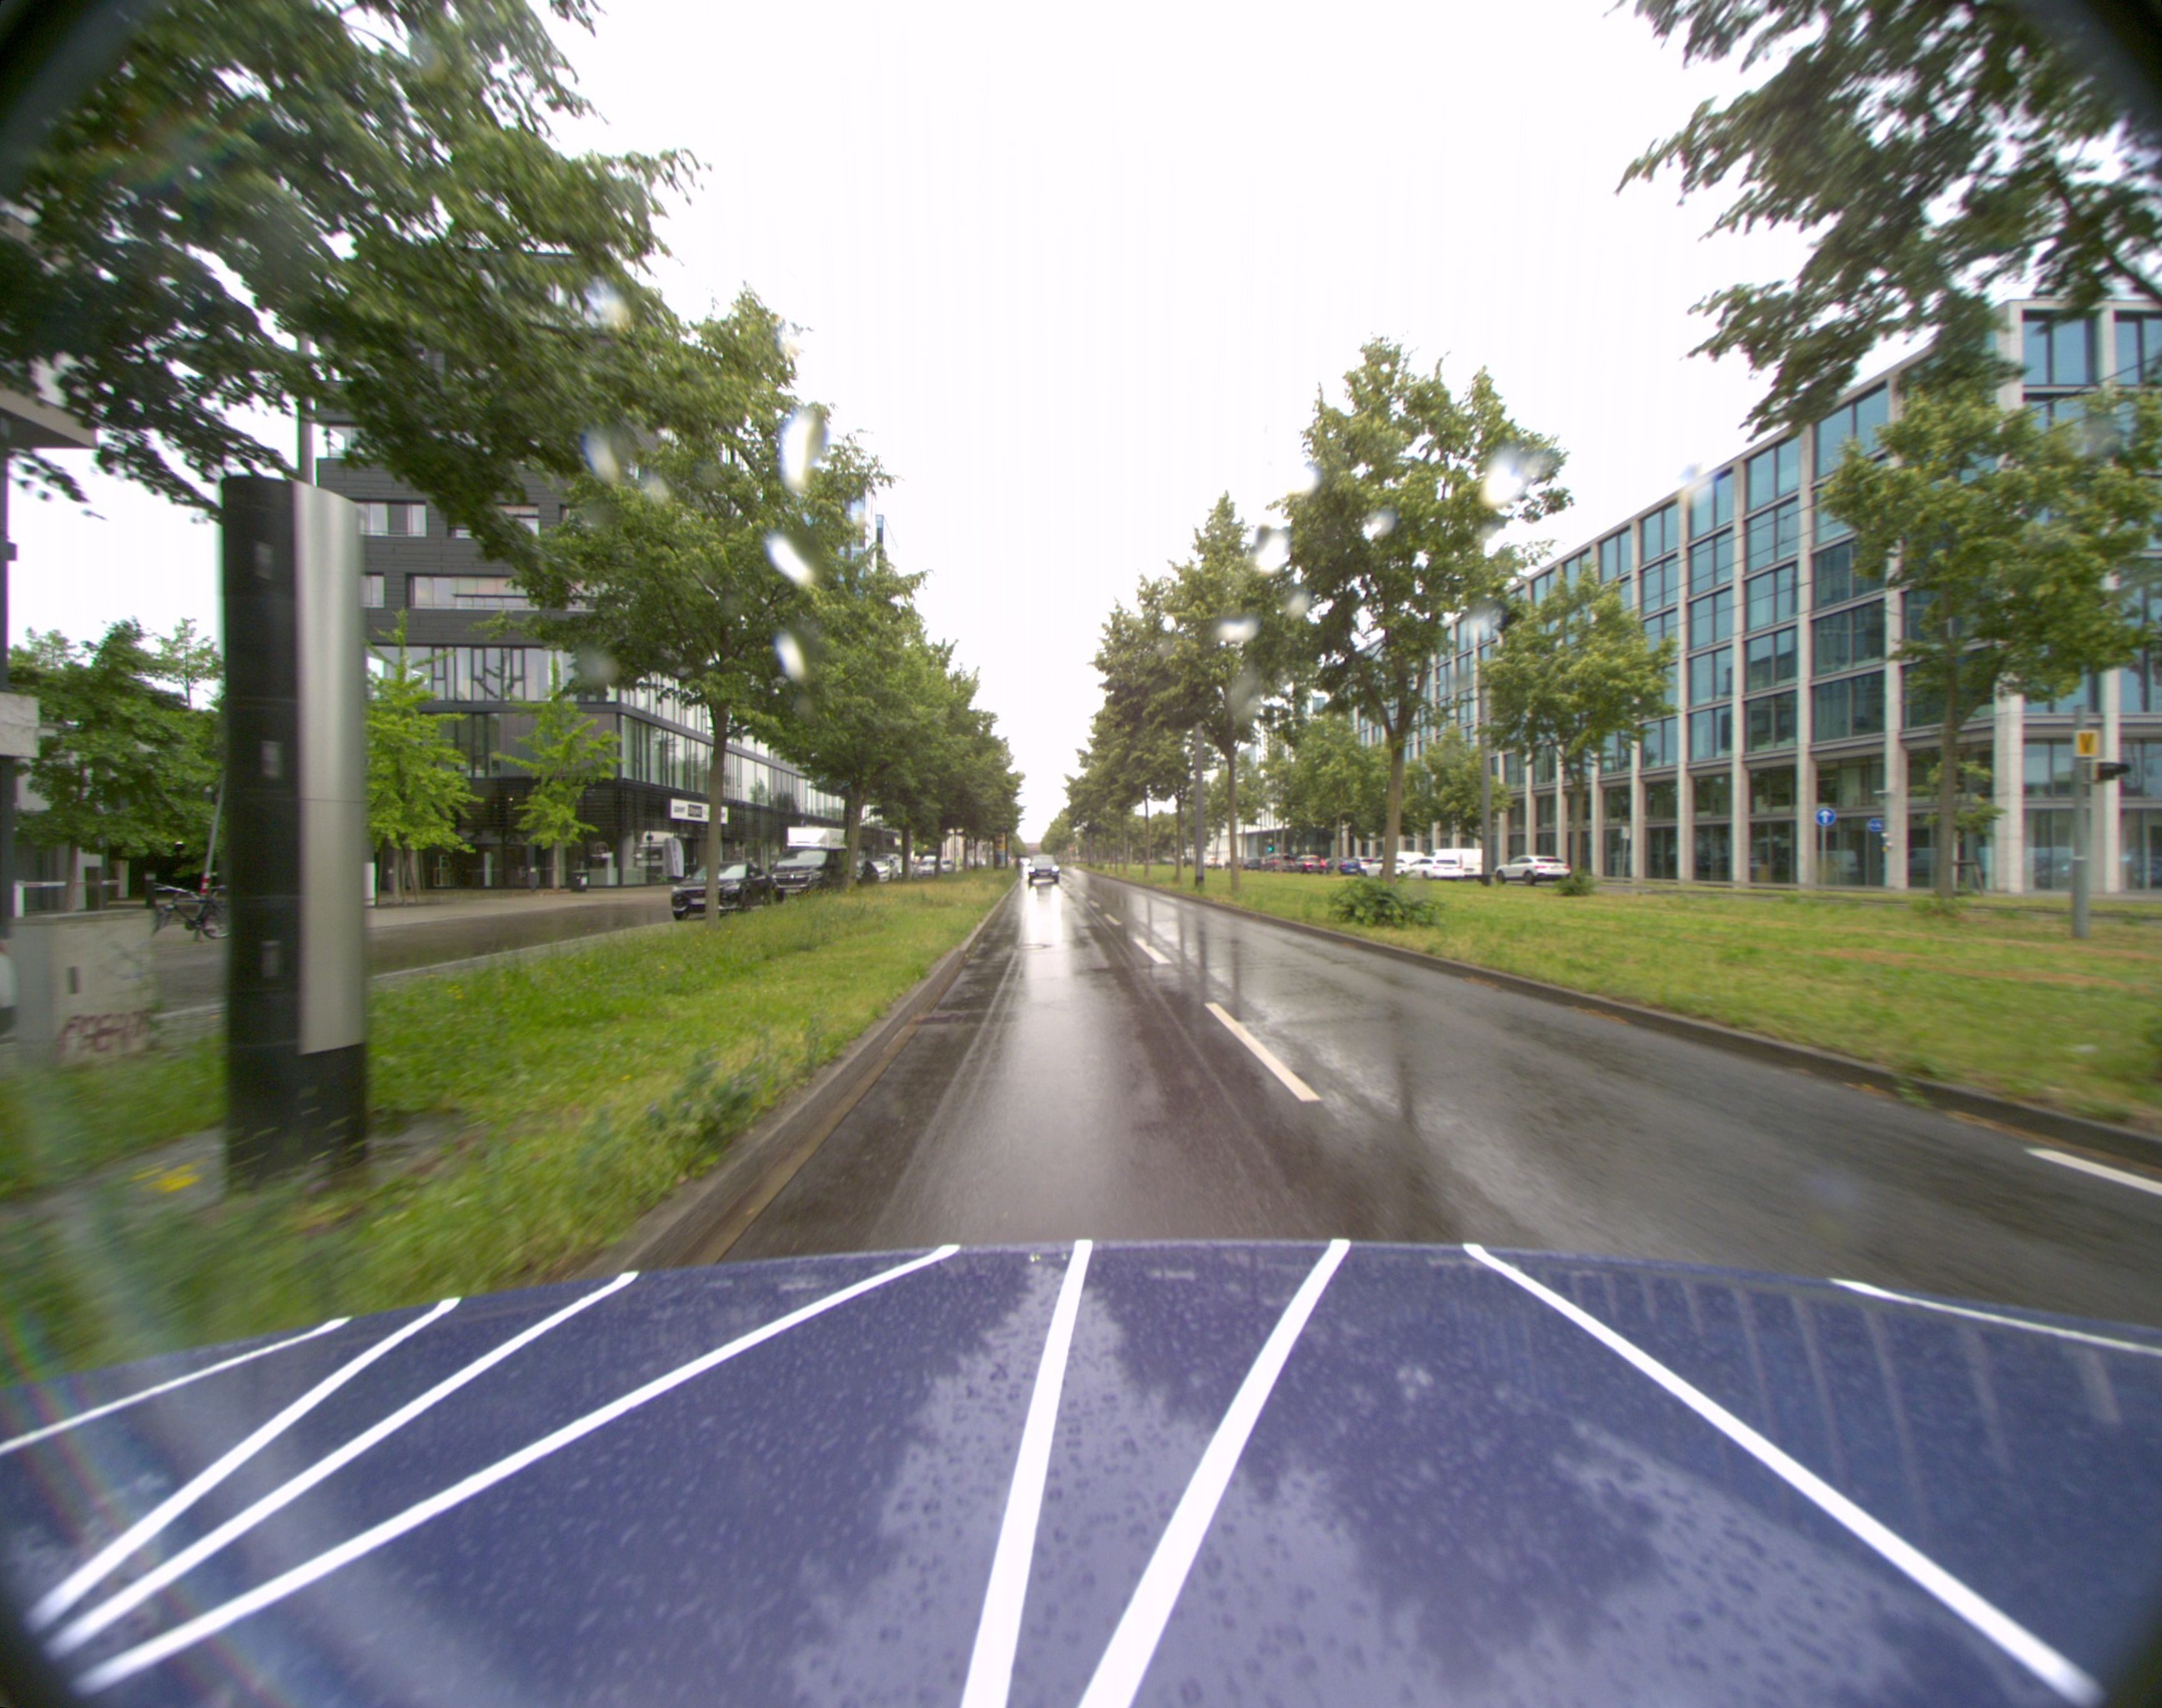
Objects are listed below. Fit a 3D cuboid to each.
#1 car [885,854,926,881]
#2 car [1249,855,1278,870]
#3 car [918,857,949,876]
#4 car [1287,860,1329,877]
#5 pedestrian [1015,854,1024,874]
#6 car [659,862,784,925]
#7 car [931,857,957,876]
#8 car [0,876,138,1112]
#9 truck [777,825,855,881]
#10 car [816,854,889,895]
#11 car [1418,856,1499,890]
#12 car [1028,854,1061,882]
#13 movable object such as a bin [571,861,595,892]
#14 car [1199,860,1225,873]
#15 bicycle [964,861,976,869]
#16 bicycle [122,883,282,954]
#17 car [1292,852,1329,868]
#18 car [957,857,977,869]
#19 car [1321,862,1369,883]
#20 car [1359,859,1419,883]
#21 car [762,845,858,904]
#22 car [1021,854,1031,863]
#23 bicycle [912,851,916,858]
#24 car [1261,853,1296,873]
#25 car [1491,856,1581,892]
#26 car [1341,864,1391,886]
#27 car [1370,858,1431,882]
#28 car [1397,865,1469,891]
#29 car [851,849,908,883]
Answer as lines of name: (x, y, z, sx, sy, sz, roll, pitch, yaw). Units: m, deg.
car: (-10.805, 0.853, 47.126, 1.775, 1.443, 4.722, -4, -1, -6)
car: (21.140, 0.965, 88.213, 1.956, 1.684, 4.270, 0, 0, -5)
car: (-11.924, 1.002, 61.588, 2.000, 1.436, 5.234, -1, 0, -6)
car: (19.420, 1.290, 65.104, 1.956, 1.377, 4.604, 0, -2, -4)
pedestrian: (-4.596, 0.768, 56.452, 0.644, 1.484, 0.699, -1, 0, -5)
car: (-9.839, 1.001, 21.210, 1.963, 1.504, 4.478, 0, 0, -9)
car: (-12.228, 1.146, 67.857, 1.765, 1.586, 4.100, 0, -2, -3)
car: (-8.533, 0.934, 3.735, 1.999, 1.658, 4.724, 0, -2, -3)
truck: (-17.573, -0.055, 50.990, 3.034, 3.421, 8.543, -1, 0, -6)
car: (-10.344, 0.921, 34.822, 1.999, 1.659, 4.957, -2, -1, -3)
car: (23.630, 1.212, 47.830, 2.274, 1.994, 5.373, -1, -2, -2)
car: (-2.262, 0.848, 47.543, 1.928, 1.650, 4.714, 0, 0, -2)
movable object such as a bin: (-20.766, 0.932, 31.686, 0.609, 1.268, 0.648, 0, -2, -7)
car: (15.175, 1.423, 87.929, 1.956, 1.444, 4.574, -1, 0, -3)
bicycle: (-13.371, 1.290, 91.174, 1.458, 0.911, 0.434, -2, -2, 29)
bicycle: (-15.902, 1.128, 13.837, 0.519, 1.124, 2.064, -1, 0, -1)
car: (22.383, 0.588, 74.204, 1.956, 1.377, 4.272, 0, -2, -5)
car: (-14.726, 1.136, 98.503, 1.999, 1.446, 4.958, 0, 0, -3)
car: (19.961, 1.451, 57.683, 1.956, 1.485, 3.962, 0, -2, -5)
car: (20.579, 1.123, 50.925, 1.956, 1.504, 4.574, -1, 0, -3)
car: (-9.650, 0.778, 27.501, 1.999, 1.940, 5.029, 0, -2, -4)
car: (-10.290, 0.803, 142.392, 1.687, 1.520, 3.968, 0, -2, -5)
bicycle: (-21.370, 0.082, 97.228, 0.438, 0.892, 1.231, 0, -2, -8)
car: (19.010, 0.909, 73.464, 1.956, 1.837, 4.542, 0, -1, -4)
car: (23.675, 1.000, 39.776, 1.956, 1.739, 4.576, -1, 0, 0)
car: (23.264, 1.774, 62.196, 1.956, 1.735, 4.633, 0, -2, -5)
car: (23.309, 1.223, 55.664, 1.956, 1.641, 5.029, 0, -2, -5)
car: (20.523, 1.419, 44.527, 1.955, 1.452, 4.833, -1, -2, 0)
car: (-10.802, 0.621, 41.055, 1.999, 1.659, 4.722, -2, -1, -4)
